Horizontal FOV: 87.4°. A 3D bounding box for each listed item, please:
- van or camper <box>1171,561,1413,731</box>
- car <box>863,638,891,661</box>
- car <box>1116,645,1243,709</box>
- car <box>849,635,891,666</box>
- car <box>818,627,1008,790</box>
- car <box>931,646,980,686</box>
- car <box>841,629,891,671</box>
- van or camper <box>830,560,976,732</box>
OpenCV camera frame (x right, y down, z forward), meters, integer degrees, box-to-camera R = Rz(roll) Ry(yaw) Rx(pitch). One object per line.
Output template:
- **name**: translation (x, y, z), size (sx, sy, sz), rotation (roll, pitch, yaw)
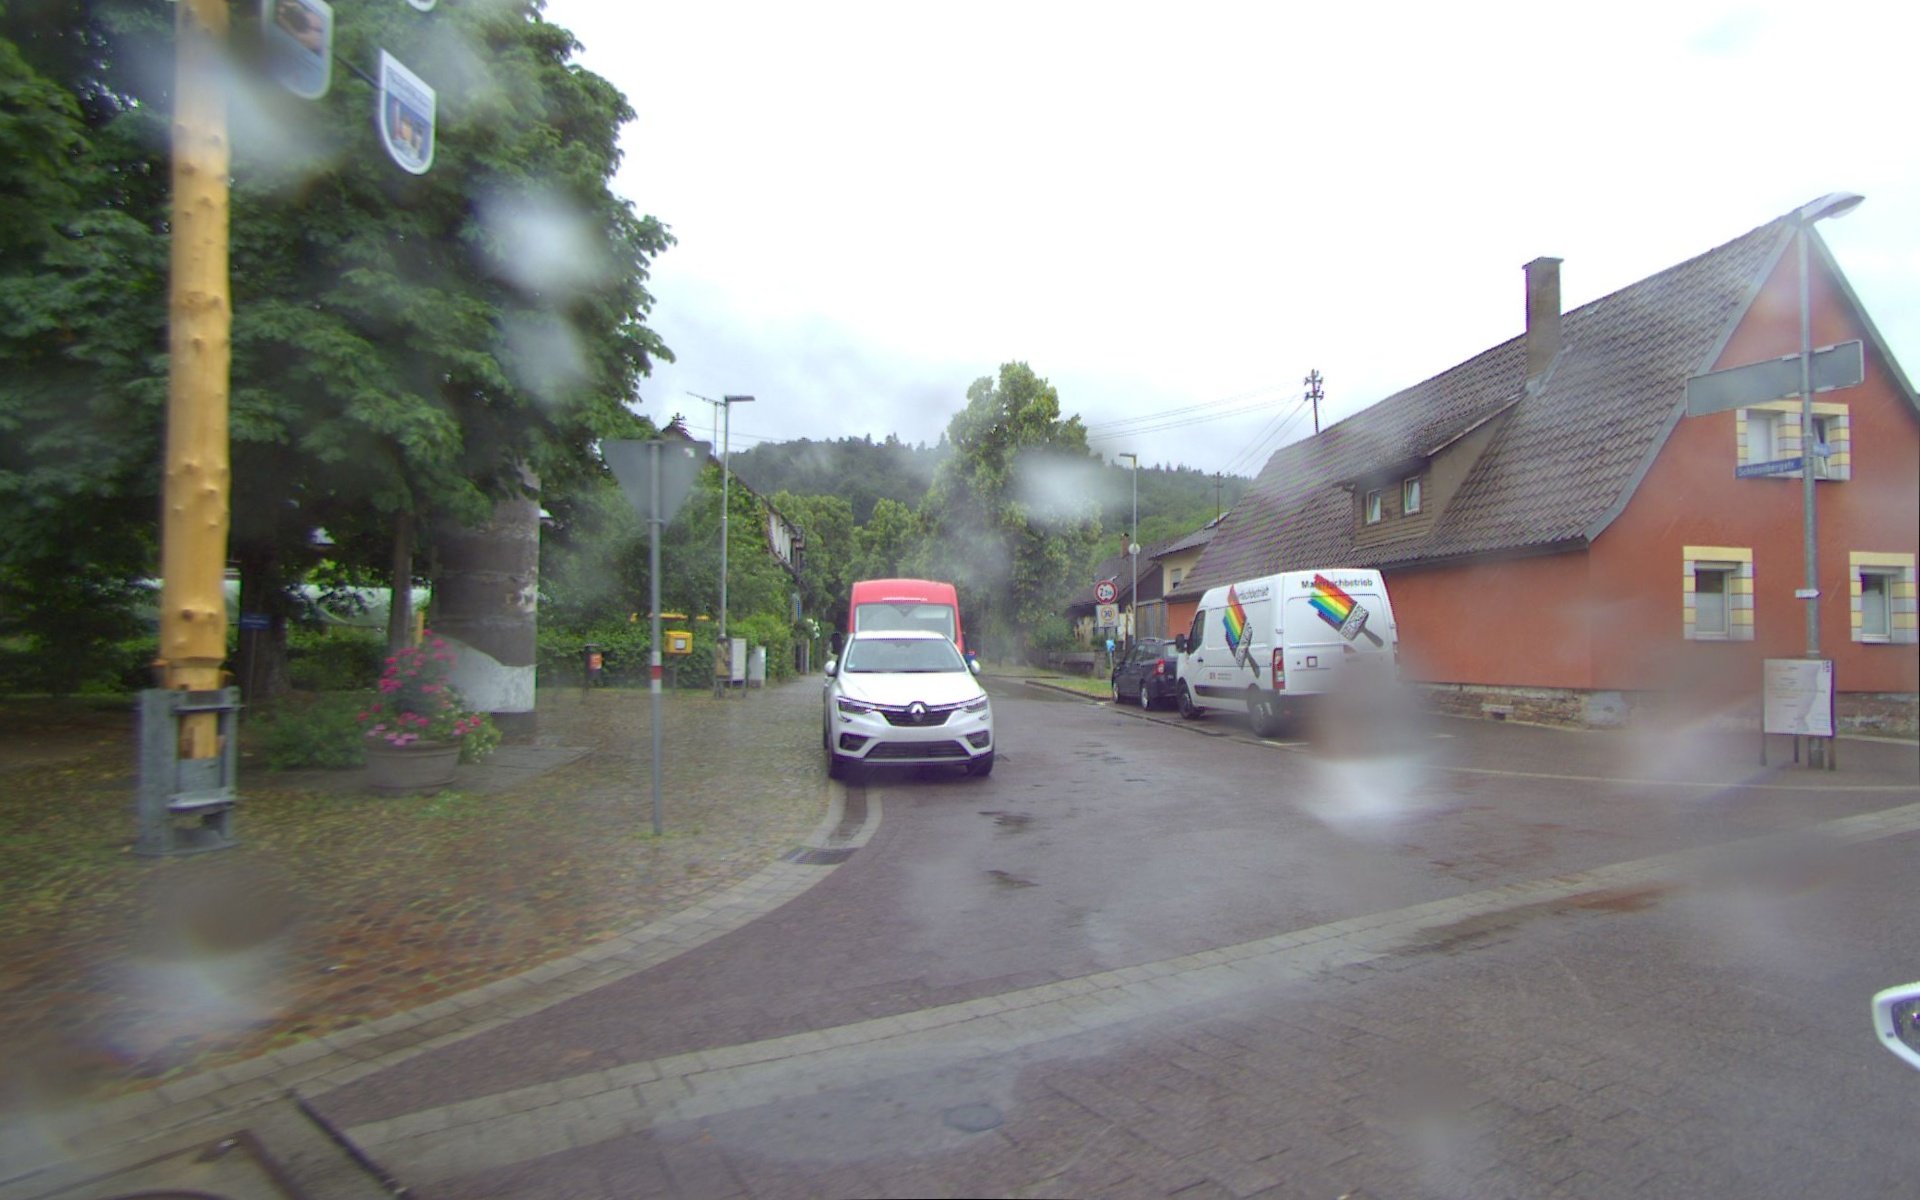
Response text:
- **van or camper**: translation (5.435, 0.773, 17.353), size (2.169, 2.467, 5.158), rotation (-1, -2, -3)
- **car**: translation (-6.553, 3.860, 78.840), size (1.943, 1.638, 4.437), rotation (1, 0, -8)
- **car**: translation (4.863, 1.679, 22.817), size (1.802, 1.297, 4.003), rotation (-1, -2, -3)
- **car**: translation (-4.452, 2.482, 50.046), size (1.650, 1.448, 3.665), rotation (2, -2, 0)
- **car**: translation (-0.756, 1.117, 12.038), size (1.848, 1.570, 4.455), rotation (0, -2, -8)
- **car**: translation (-0.252, 2.888, 44.569), size (1.829, 1.571, 3.997), rotation (1, 0, -5)
- **car**: translation (-3.948, 2.050, 41.868), size (1.780, 1.623, 3.755), rotation (2, -2, -9)
- **van or camper**: translation (-1.039, 0.789, 17.902), size (2.114, 2.506, 5.875), rotation (2, -2, -4)
